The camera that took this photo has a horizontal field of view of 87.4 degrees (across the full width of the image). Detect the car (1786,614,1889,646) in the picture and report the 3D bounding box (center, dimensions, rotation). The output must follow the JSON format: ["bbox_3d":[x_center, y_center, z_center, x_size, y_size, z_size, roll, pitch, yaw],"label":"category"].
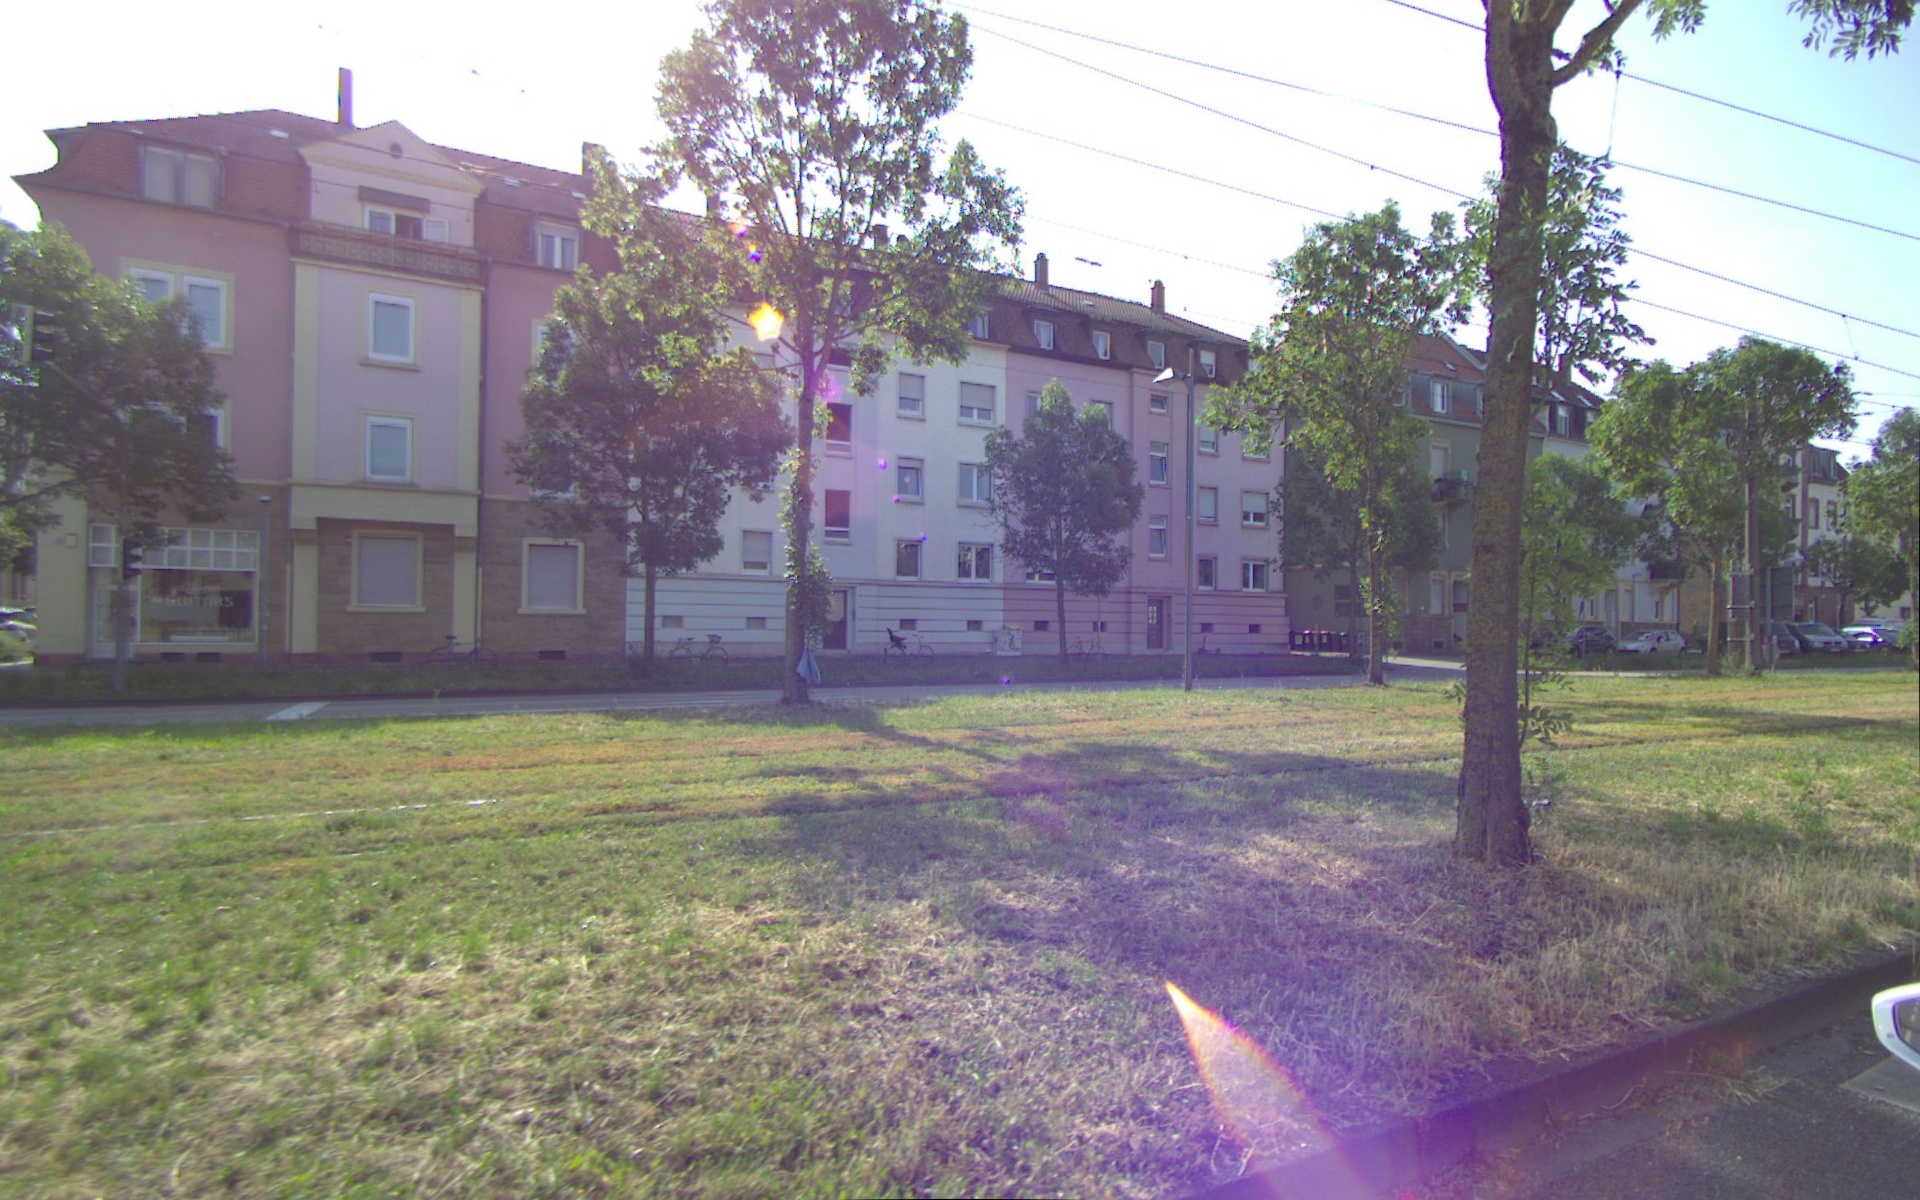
[{"bbox_3d":[45.663,1.551,52.427,1.935,1.438,4.479,2,1,10],"label":"car"}]

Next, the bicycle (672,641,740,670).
[{"bbox_3d":[-7.618,1.664,30.183,1.924,0.799,0.435,2,1,-30],"label":"bicycle"}]

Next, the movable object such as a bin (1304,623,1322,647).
[{"bbox_3d":[18.459,1.833,52.524,0.632,1.227,0.582,1,1,-29],"label":"movable object such as a bin"}]

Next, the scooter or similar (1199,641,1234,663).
[{"bbox_3d":[10.105,2.055,39.572,1.201,0.823,0.603,2,1,-18],"label":"scooter or similar"}]

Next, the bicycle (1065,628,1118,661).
[{"bbox_3d":[4.808,1.627,36.735,1.924,1.143,0.601,2,1,-30],"label":"bicycle"}]

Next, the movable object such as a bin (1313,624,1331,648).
[{"bbox_3d":[18.745,1.849,51.976,0.632,1.227,0.582,1,1,-29],"label":"movable object such as a bin"}]

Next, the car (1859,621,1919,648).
[{"bbox_3d":[54.681,2.010,58.410,1.545,1.436,4.002,2,1,7],"label":"car"}]

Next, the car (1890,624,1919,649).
[{"bbox_3d":[57.050,2.204,58.924,1.545,1.436,4.002,2,1,6],"label":"car"}]

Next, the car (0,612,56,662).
[{"bbox_3d":[-31.802,1.203,33.690,1.552,1.481,3.380,1,1,-31],"label":"car"}]

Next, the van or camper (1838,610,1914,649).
[{"bbox_3d":[65.201,2.106,71.488,6.278,2.601,2.030,2,1,-29],"label":"van or camper"}]

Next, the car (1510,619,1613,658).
[{"bbox_3d":[27.845,1.744,46.481,4.718,1.650,1.984,1,1,-30],"label":"car"}]

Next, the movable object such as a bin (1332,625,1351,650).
[{"bbox_3d":[19.339,1.882,50.872,0.632,1.227,0.582,1,1,-29],"label":"movable object such as a bin"}]

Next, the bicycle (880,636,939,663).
[{"bbox_3d":[-1.665,1.635,33.247,1.924,0.868,0.445,2,1,-30],"label":"bicycle"}]

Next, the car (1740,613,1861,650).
[{"bbox_3d":[43.015,1.565,51.592,2.015,1.645,5.223,2,1,3],"label":"car"}]

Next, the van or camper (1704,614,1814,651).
[{"bbox_3d":[40.386,1.594,50.941,1.962,1.645,4.852,2,1,5],"label":"van or camper"}]

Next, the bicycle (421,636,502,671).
[{"bbox_3d":[-13.402,1.442,27.042,1.924,0.901,0.465,2,1,-30],"label":"bicycle"}]

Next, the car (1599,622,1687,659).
[{"bbox_3d":[33.189,1.951,48.796,4.106,1.650,1.881,1,1,-29],"label":"car"}]

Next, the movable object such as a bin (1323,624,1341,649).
[{"bbox_3d":[19.037,1.865,51.431,0.632,1.227,0.582,1,1,-29],"label":"movable object such as a bin"}]
